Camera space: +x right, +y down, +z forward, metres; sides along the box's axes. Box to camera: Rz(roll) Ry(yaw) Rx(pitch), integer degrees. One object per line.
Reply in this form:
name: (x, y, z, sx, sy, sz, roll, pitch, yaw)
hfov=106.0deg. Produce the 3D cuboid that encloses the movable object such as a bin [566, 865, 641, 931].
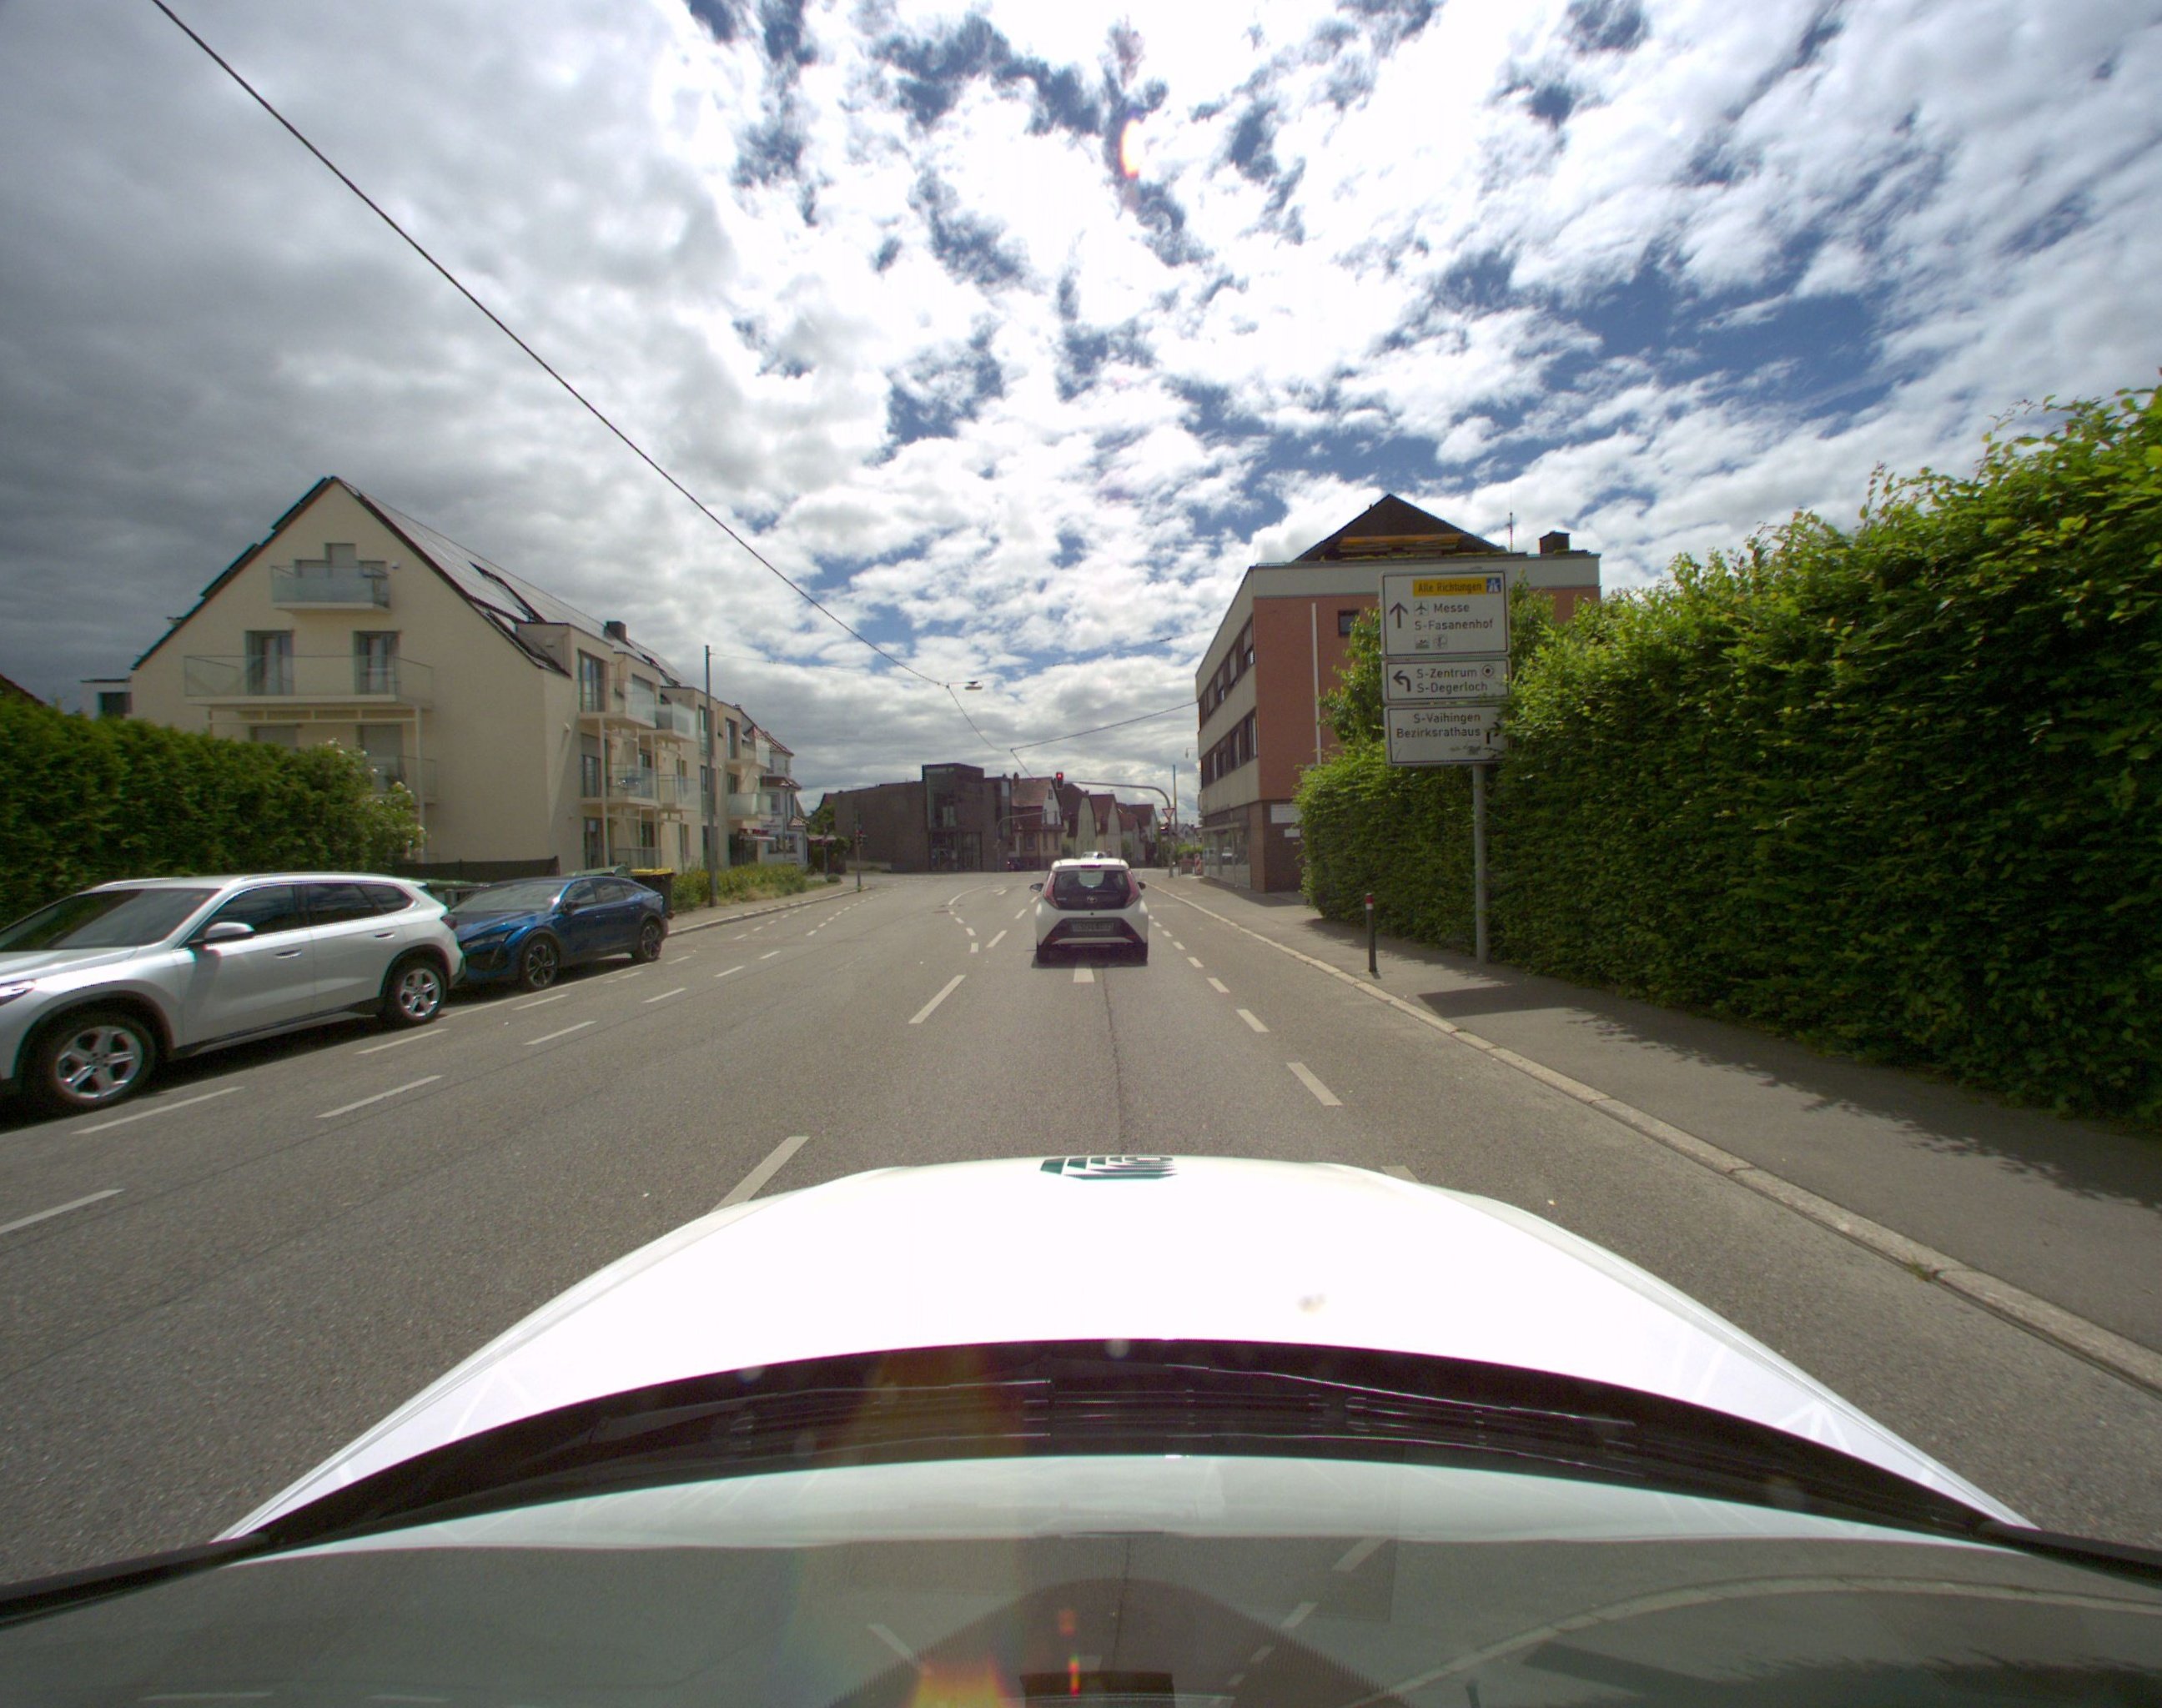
movable object such as a bin: (-11.468, 1.034, 19.607, 1.062, 1.482, 1.213, -2, 0, -1)

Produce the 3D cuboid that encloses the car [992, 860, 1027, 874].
car: (-7.969, 1.448, 90.699, 3.590, 1.605, 1.697, 0, -1, 12)

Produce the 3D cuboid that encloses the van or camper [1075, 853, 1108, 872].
van or camper: (1.184, 0.842, 84.875, 2.099, 1.926, 5.307, 0, 0, 16)

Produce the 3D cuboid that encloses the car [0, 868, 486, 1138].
car: (-7.843, 1.012, 7.029, 1.986, 1.651, 4.518, -2, 0, 1)

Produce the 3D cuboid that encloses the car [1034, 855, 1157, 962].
car: (0.176, 0.762, 12.867, 1.692, 1.456, 3.297, 0, 0, -1)

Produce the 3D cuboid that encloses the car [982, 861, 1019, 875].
car: (-8.730, 1.507, 87.931, 3.590, 1.419, 1.697, 0, -1, 12)

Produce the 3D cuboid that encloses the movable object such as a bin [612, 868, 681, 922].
movable object such as a bin: (-11.096, 1.031, 20.853, 1.061, 1.313, 1.215, -2, 0, 2)

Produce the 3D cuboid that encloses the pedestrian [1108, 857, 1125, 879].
pedestrian: (1.978, 0.808, 45.839, 0.737, 1.221, 0.640, -1, 0, -25)

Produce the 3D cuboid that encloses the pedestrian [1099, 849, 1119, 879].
pedestrian: (1.597, 0.570, 46.498, 0.826, 1.721, 0.810, -1, 0, -26)

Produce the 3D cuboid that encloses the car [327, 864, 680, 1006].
car: (-8.009, 0.995, 11.988, 1.987, 1.587, 4.487, -2, 0, -1)
